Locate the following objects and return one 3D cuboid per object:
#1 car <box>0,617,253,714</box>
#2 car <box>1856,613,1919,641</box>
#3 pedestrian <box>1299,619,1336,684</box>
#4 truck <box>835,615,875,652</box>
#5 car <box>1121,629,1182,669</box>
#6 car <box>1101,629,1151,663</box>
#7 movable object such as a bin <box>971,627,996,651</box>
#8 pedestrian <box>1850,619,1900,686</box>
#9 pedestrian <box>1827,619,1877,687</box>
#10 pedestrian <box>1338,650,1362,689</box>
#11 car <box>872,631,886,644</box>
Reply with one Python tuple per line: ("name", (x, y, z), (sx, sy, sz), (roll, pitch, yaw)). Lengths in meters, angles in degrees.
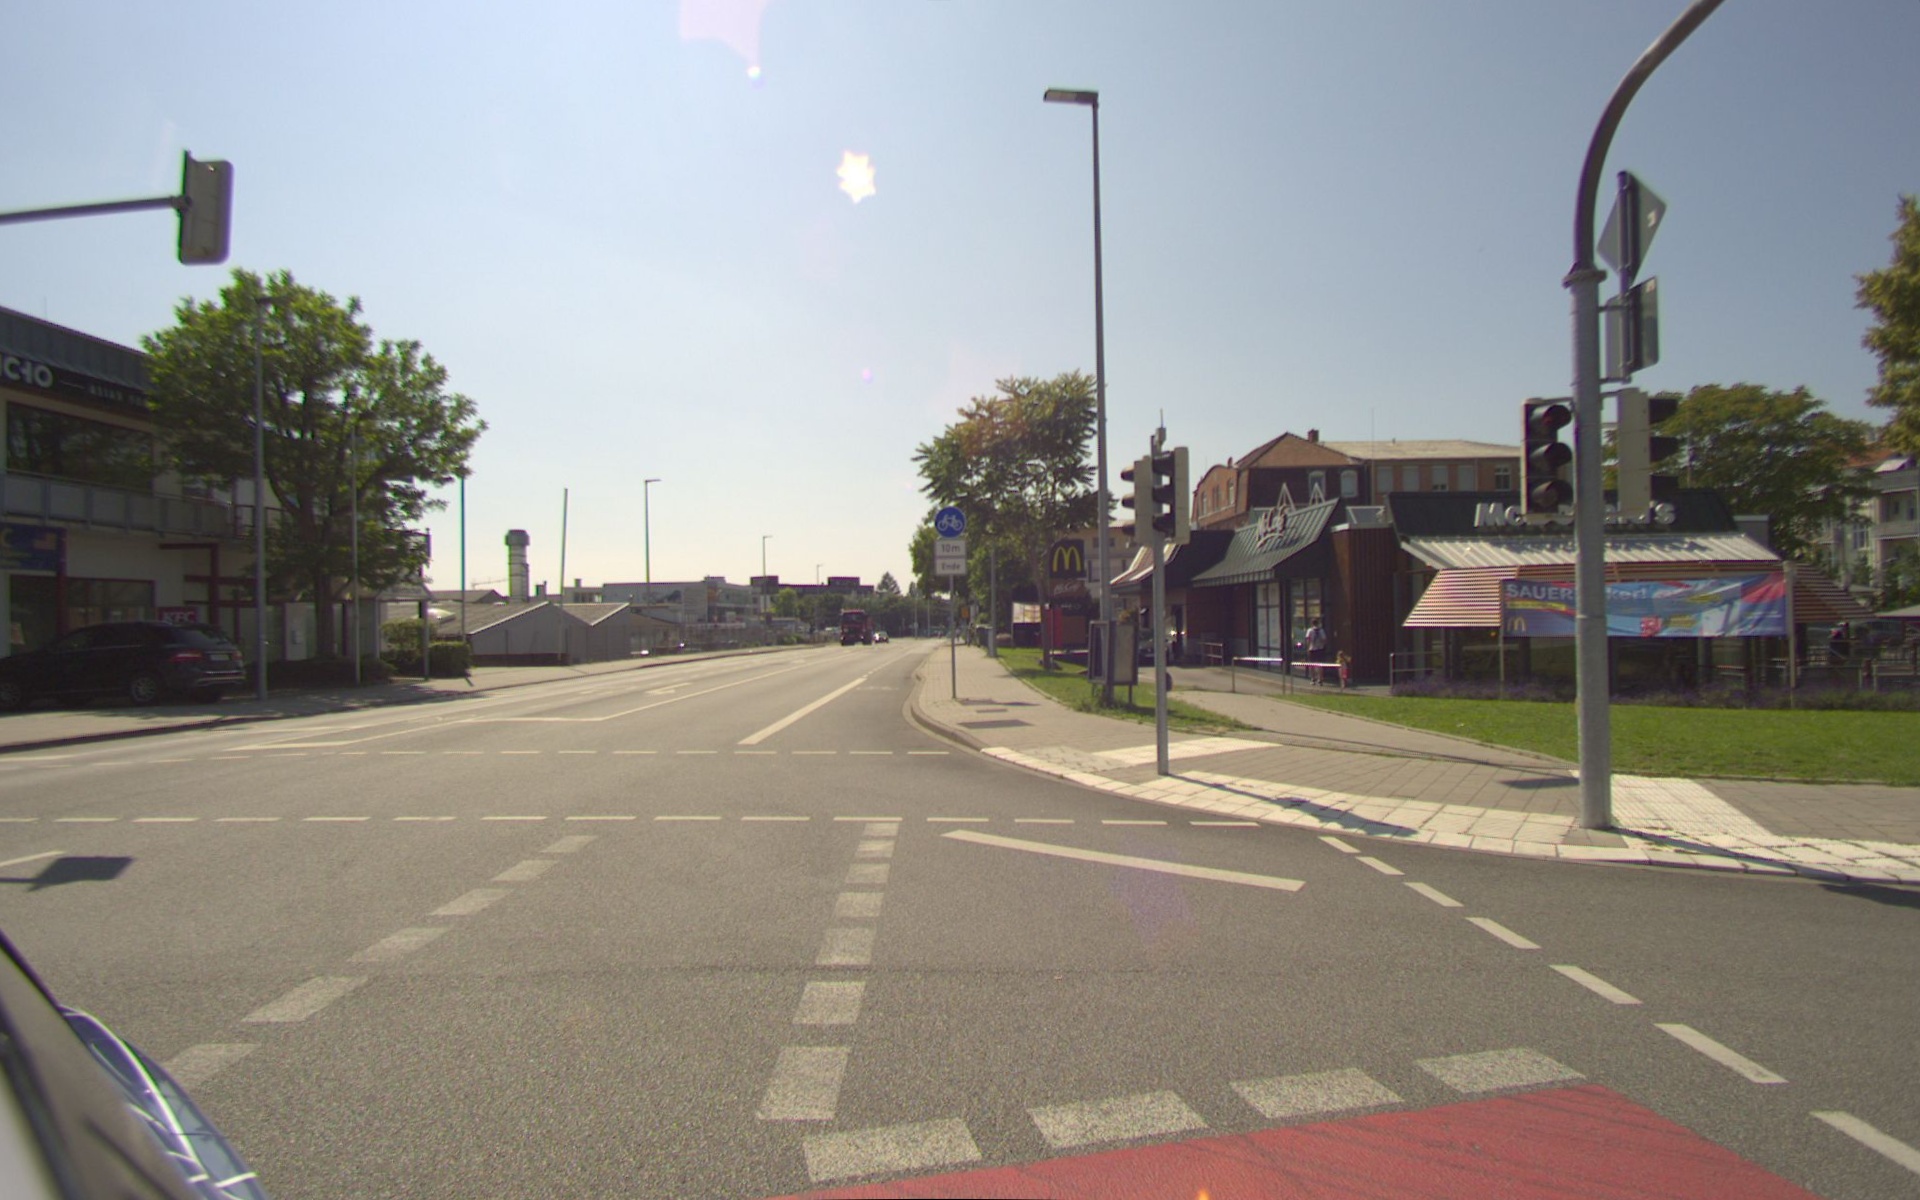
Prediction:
("car", (-17.759, 1.344, 21.255), (4.593, 1.870, 1.808), (-1, -2, 0))
("car", (56.873, 1.627, 61.008), (1.770, 1.610, 4.007), (0, -2, -39))
("pedestrian", (9.974, 1.430, 28.256), (0.628, 1.771, 0.893), (-1, -2, -4))
("truck", (-10.448, 3.311, 101.455), (3.267, 3.412, 9.170), (-1, -1, -1))
("car", (7.964, 2.021, 42.370), (1.841, 1.564, 4.185), (-1, -2, 2))
("car", (8.007, 2.202, 49.179), (1.840, 1.564, 4.185), (-1, -2, 2))
("movable object such as a bin", (1.432, 2.422, 62.789), (1.448, 1.422, 1.456), (-1, -2, 0))
("pedestrian", (28.088, 1.599, 31.089), (0.740, 2.029, 0.838), (0, -2, -23))
("pedestrian", (27.234, 1.610, 30.890), (0.740, 2.029, 0.838), (0, -2, -23))
("pedestrian", (10.363, 1.834, 26.906), (0.376, 1.005, 0.511), (-1, -2, -4))
("car", (-10.725, 4.962, 134.793), (1.808, 1.674, 4.003), (-1, -2, -4))
